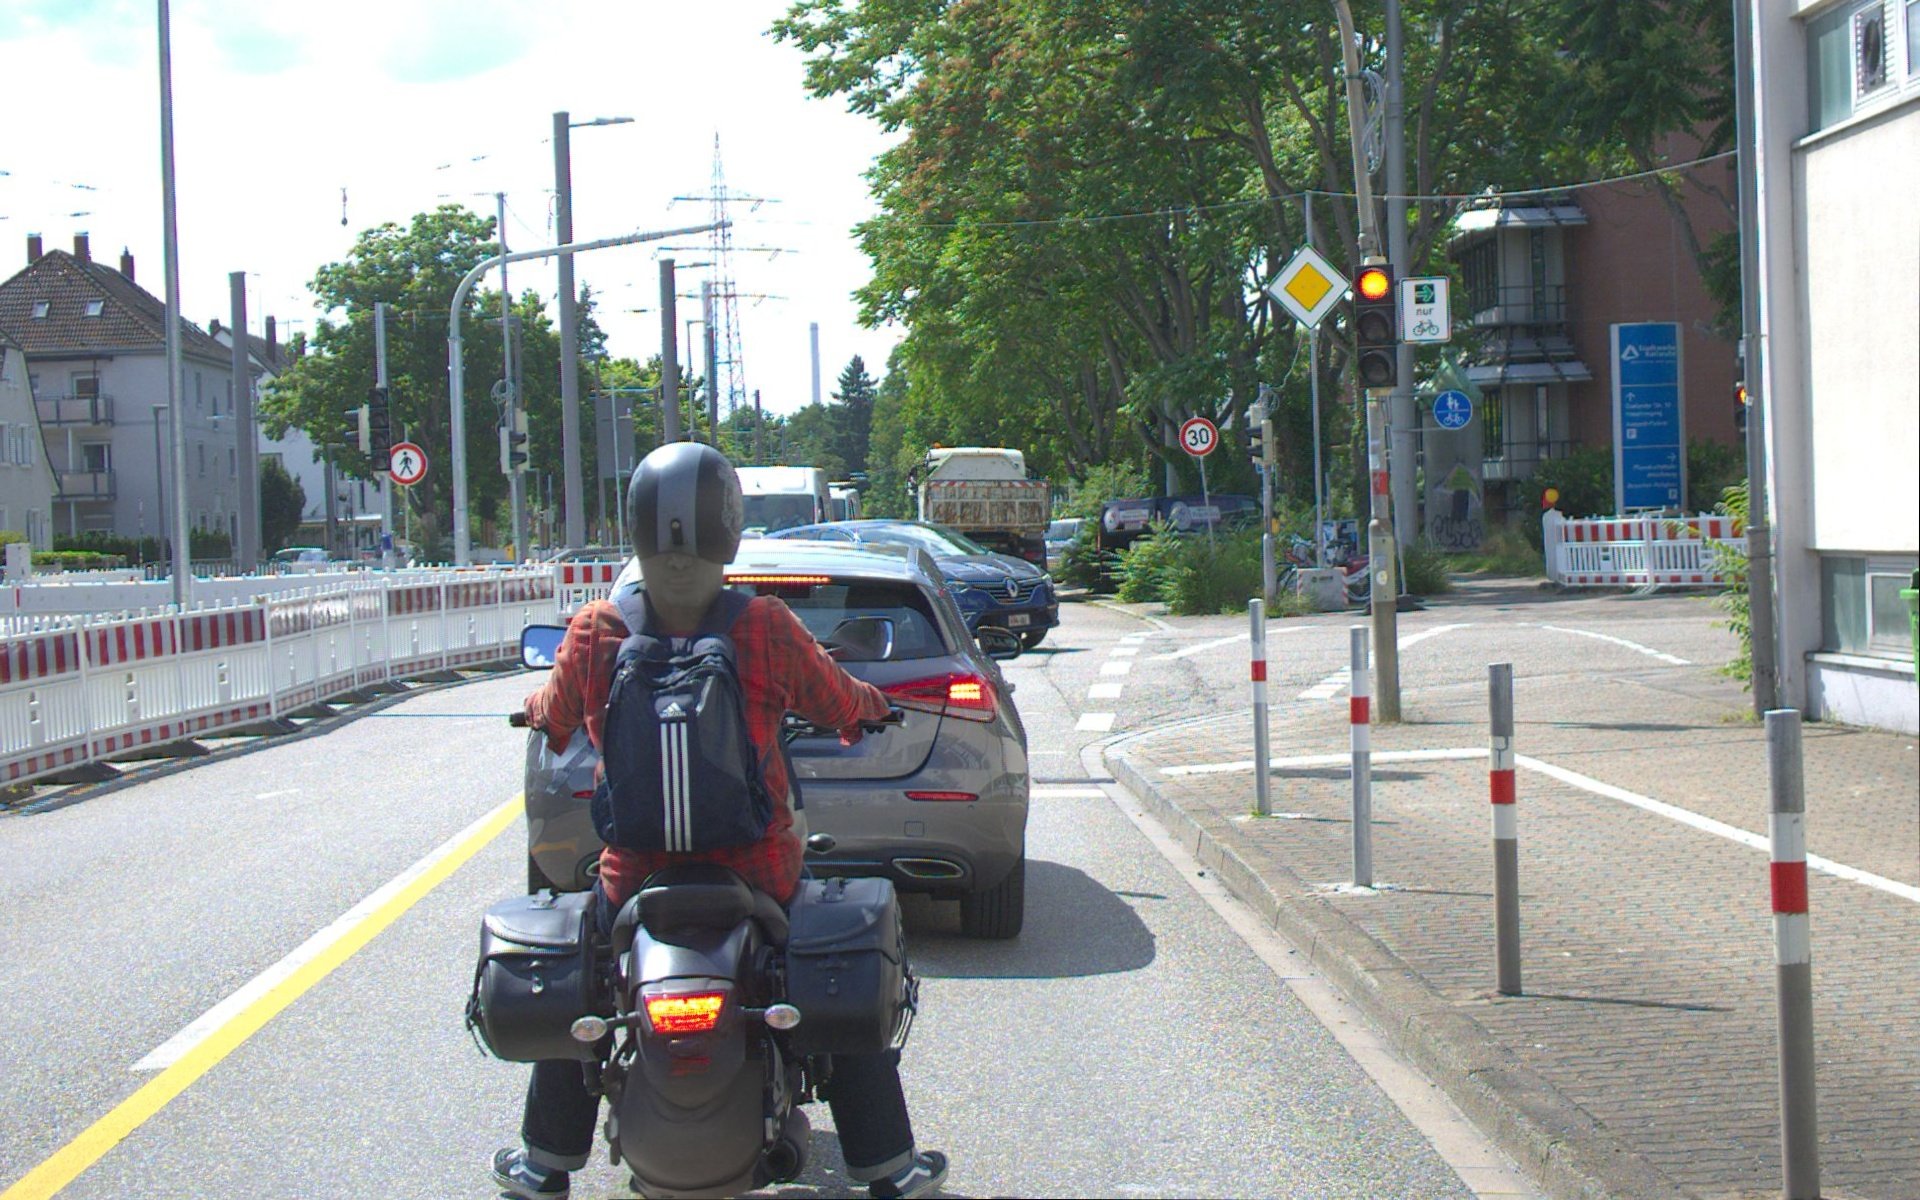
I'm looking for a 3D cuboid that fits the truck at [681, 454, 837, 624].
[{"bbox_3d":[-3.146,-1.039,54.851,2.093,2.468,5.197,-3,3,0],"label":"truck"}]

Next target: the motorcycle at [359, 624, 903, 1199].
[{"bbox_3d":[-0.598,0.688,7.225,0.942,1.196,2.473,0,1,-1],"label":"motorcycle"}]

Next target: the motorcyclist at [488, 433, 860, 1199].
[{"bbox_3d":[-0.555,0.478,6.898,0.698,1.599,0.692,0,0,-1],"label":"motorcyclist"}]

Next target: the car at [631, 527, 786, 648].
[{"bbox_3d":[-3.238,-0.178,44.914,1.744,1.432,4.084,-2,1,-1],"label":"car"}]

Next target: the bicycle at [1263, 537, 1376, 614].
[{"bbox_3d":[5.514,-0.378,52.809,1.708,1.168,0.438,0,0,4],"label":"bicycle"}]

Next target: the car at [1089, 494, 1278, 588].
[{"bbox_3d":[4.729,-1.219,72.269,1.802,1.919,3.990,1,1,44],"label":"car"}]

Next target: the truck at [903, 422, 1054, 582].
[{"bbox_3d":[0.467,-1.982,71.868,2.967,3.162,7.764,0,1,1],"label":"truck"}]

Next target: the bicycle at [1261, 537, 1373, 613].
[{"bbox_3d":[5.529,-0.384,53.340,1.708,1.168,0.438,0,0,4],"label":"bicycle"}]

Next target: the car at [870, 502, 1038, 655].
[{"bbox_3d":[-0.056,-0.273,36.436,1.645,1.493,4.269,-1,2,0],"label":"car"}]

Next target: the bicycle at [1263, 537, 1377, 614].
[{"bbox_3d":[5.465,-0.372,52.253,1.708,1.168,0.438,0,0,4],"label":"bicycle"}]

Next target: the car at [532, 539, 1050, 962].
[{"bbox_3d":[-0.764,0.477,13.609,1.731,1.399,4.087,1,1,-6],"label":"car"}]

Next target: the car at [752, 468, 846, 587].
[{"bbox_3d":[-2.979,-1.335,64.063,1.589,2.135,3.627,0,1,0],"label":"car"}]

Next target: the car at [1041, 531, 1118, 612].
[{"bbox_3d":[2.997,-0.734,87.150,1.757,2.007,4.000,0,1,-1],"label":"car"}]
